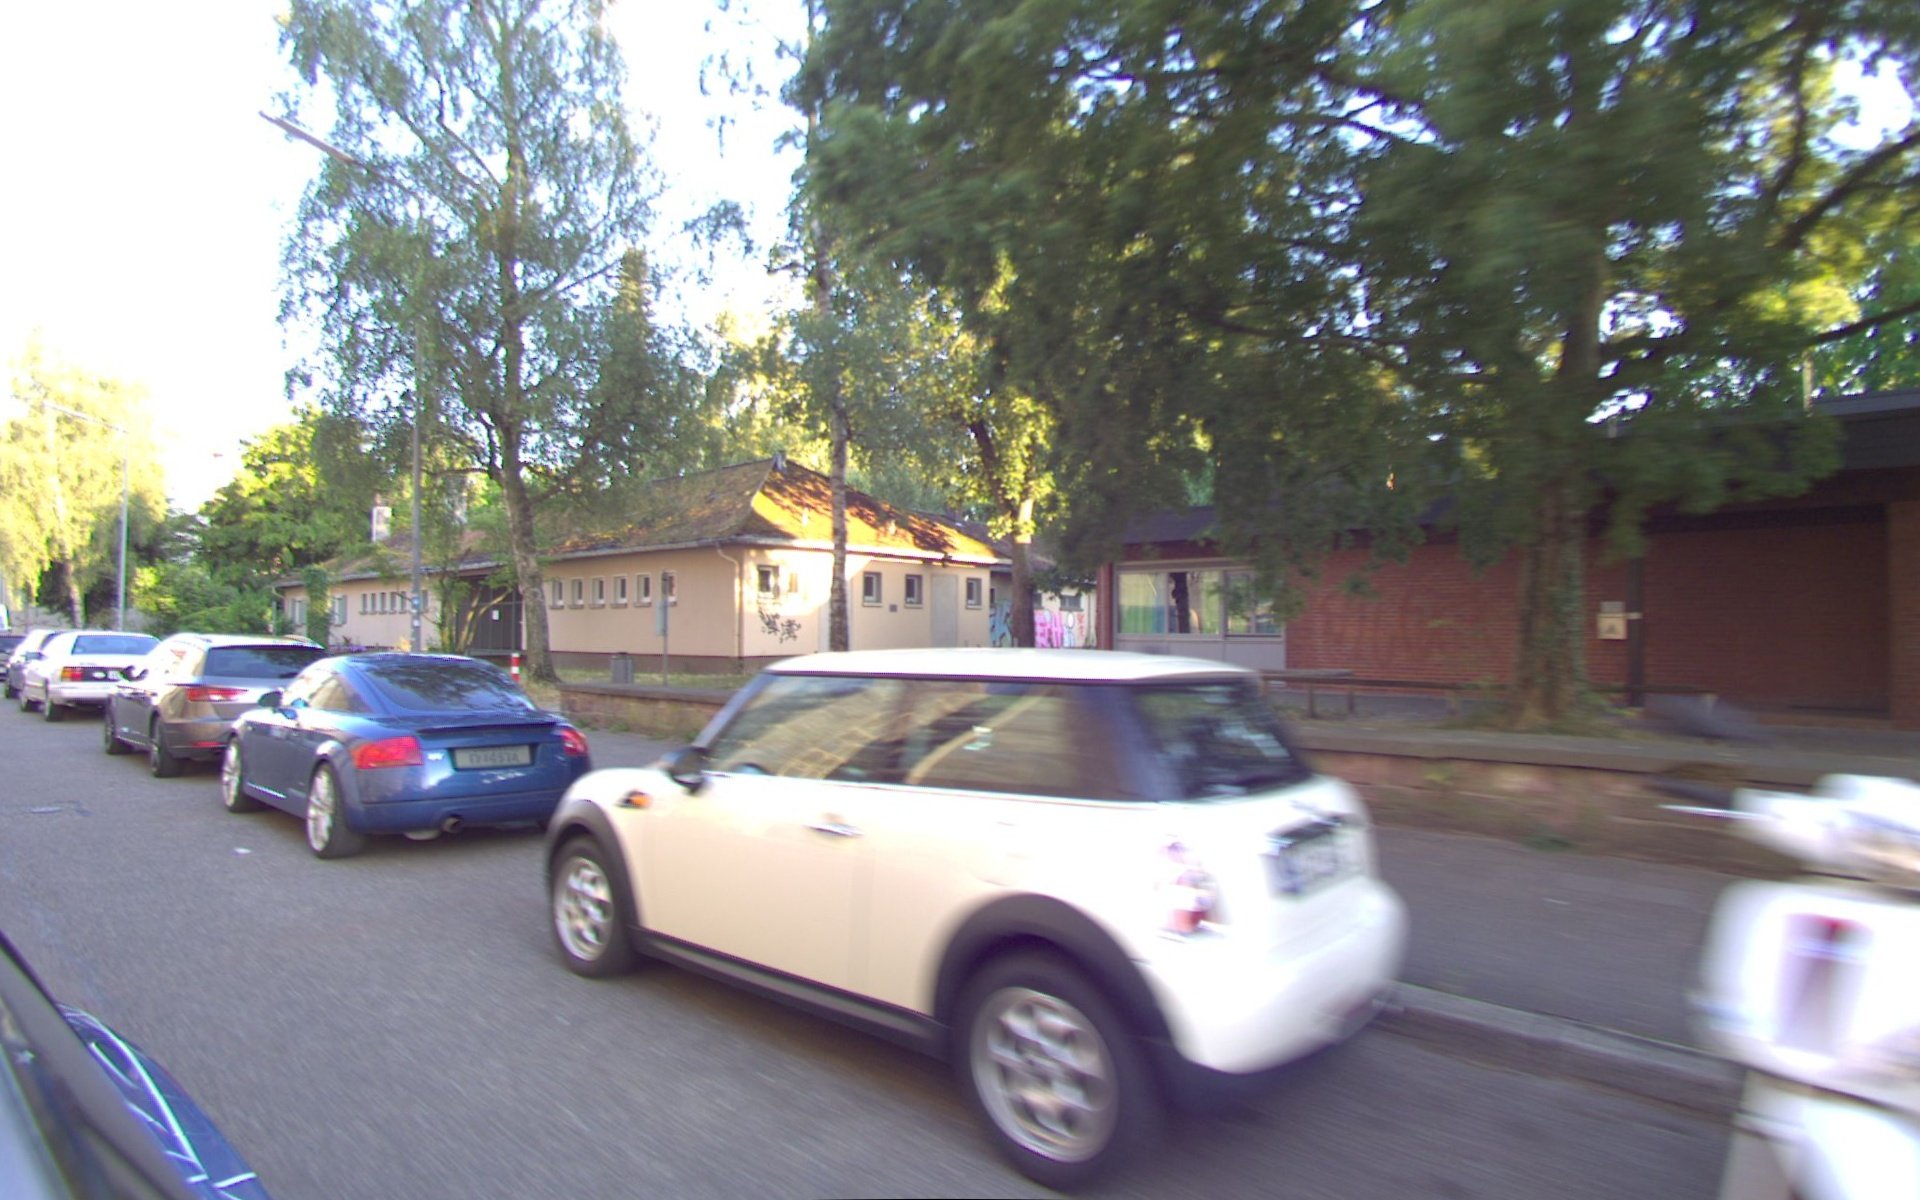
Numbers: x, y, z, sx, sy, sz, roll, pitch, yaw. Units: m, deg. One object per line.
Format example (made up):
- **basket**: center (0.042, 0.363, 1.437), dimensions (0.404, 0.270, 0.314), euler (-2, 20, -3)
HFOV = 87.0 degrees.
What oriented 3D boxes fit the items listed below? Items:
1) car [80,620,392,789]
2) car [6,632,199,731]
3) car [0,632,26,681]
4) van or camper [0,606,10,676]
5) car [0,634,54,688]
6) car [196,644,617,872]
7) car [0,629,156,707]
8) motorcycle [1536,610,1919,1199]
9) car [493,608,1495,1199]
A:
- **car**: center (-8.408, 1.056, 11.569), dimensions (4.756, 1.550, 1.840), euler (-2, -4, 41)
- **car**: center (-14.640, 1.312, 17.176), dimensions (4.746, 1.457, 1.763), euler (-2, -5, 41)
- **car**: center (-32.345, 1.854, 33.290), dimensions (4.788, 1.530, 1.972), euler (-2, -2, 42)
- **van or camper**: center (-36.845, 1.516, 37.398), dimensions (6.081, 2.476, 1.972), euler (-2, -3, 42)
- **car**: center (-27.806, 1.730, 29.268), dimensions (4.287, 1.464, 1.972), euler (-2, -2, 42)
- **car**: center (-4.533, 1.029, 7.999), dimensions (4.154, 1.323, 1.641), euler (-2, -4, 43)
- **car**: center (-18.530, 1.354, 21.086), dimensions (3.996, 1.464, 1.974), euler (-2, -2, 39)
- **motorcycle**: center (2.189, 0.679, 2.066), dimensions (2.135, 1.313, 0.882), euler (0, -1, -34)
- **car**: center (-0.165, 0.837, 4.021), dimensions (3.801, 1.442, 1.584), euler (-2, -5, 41)
